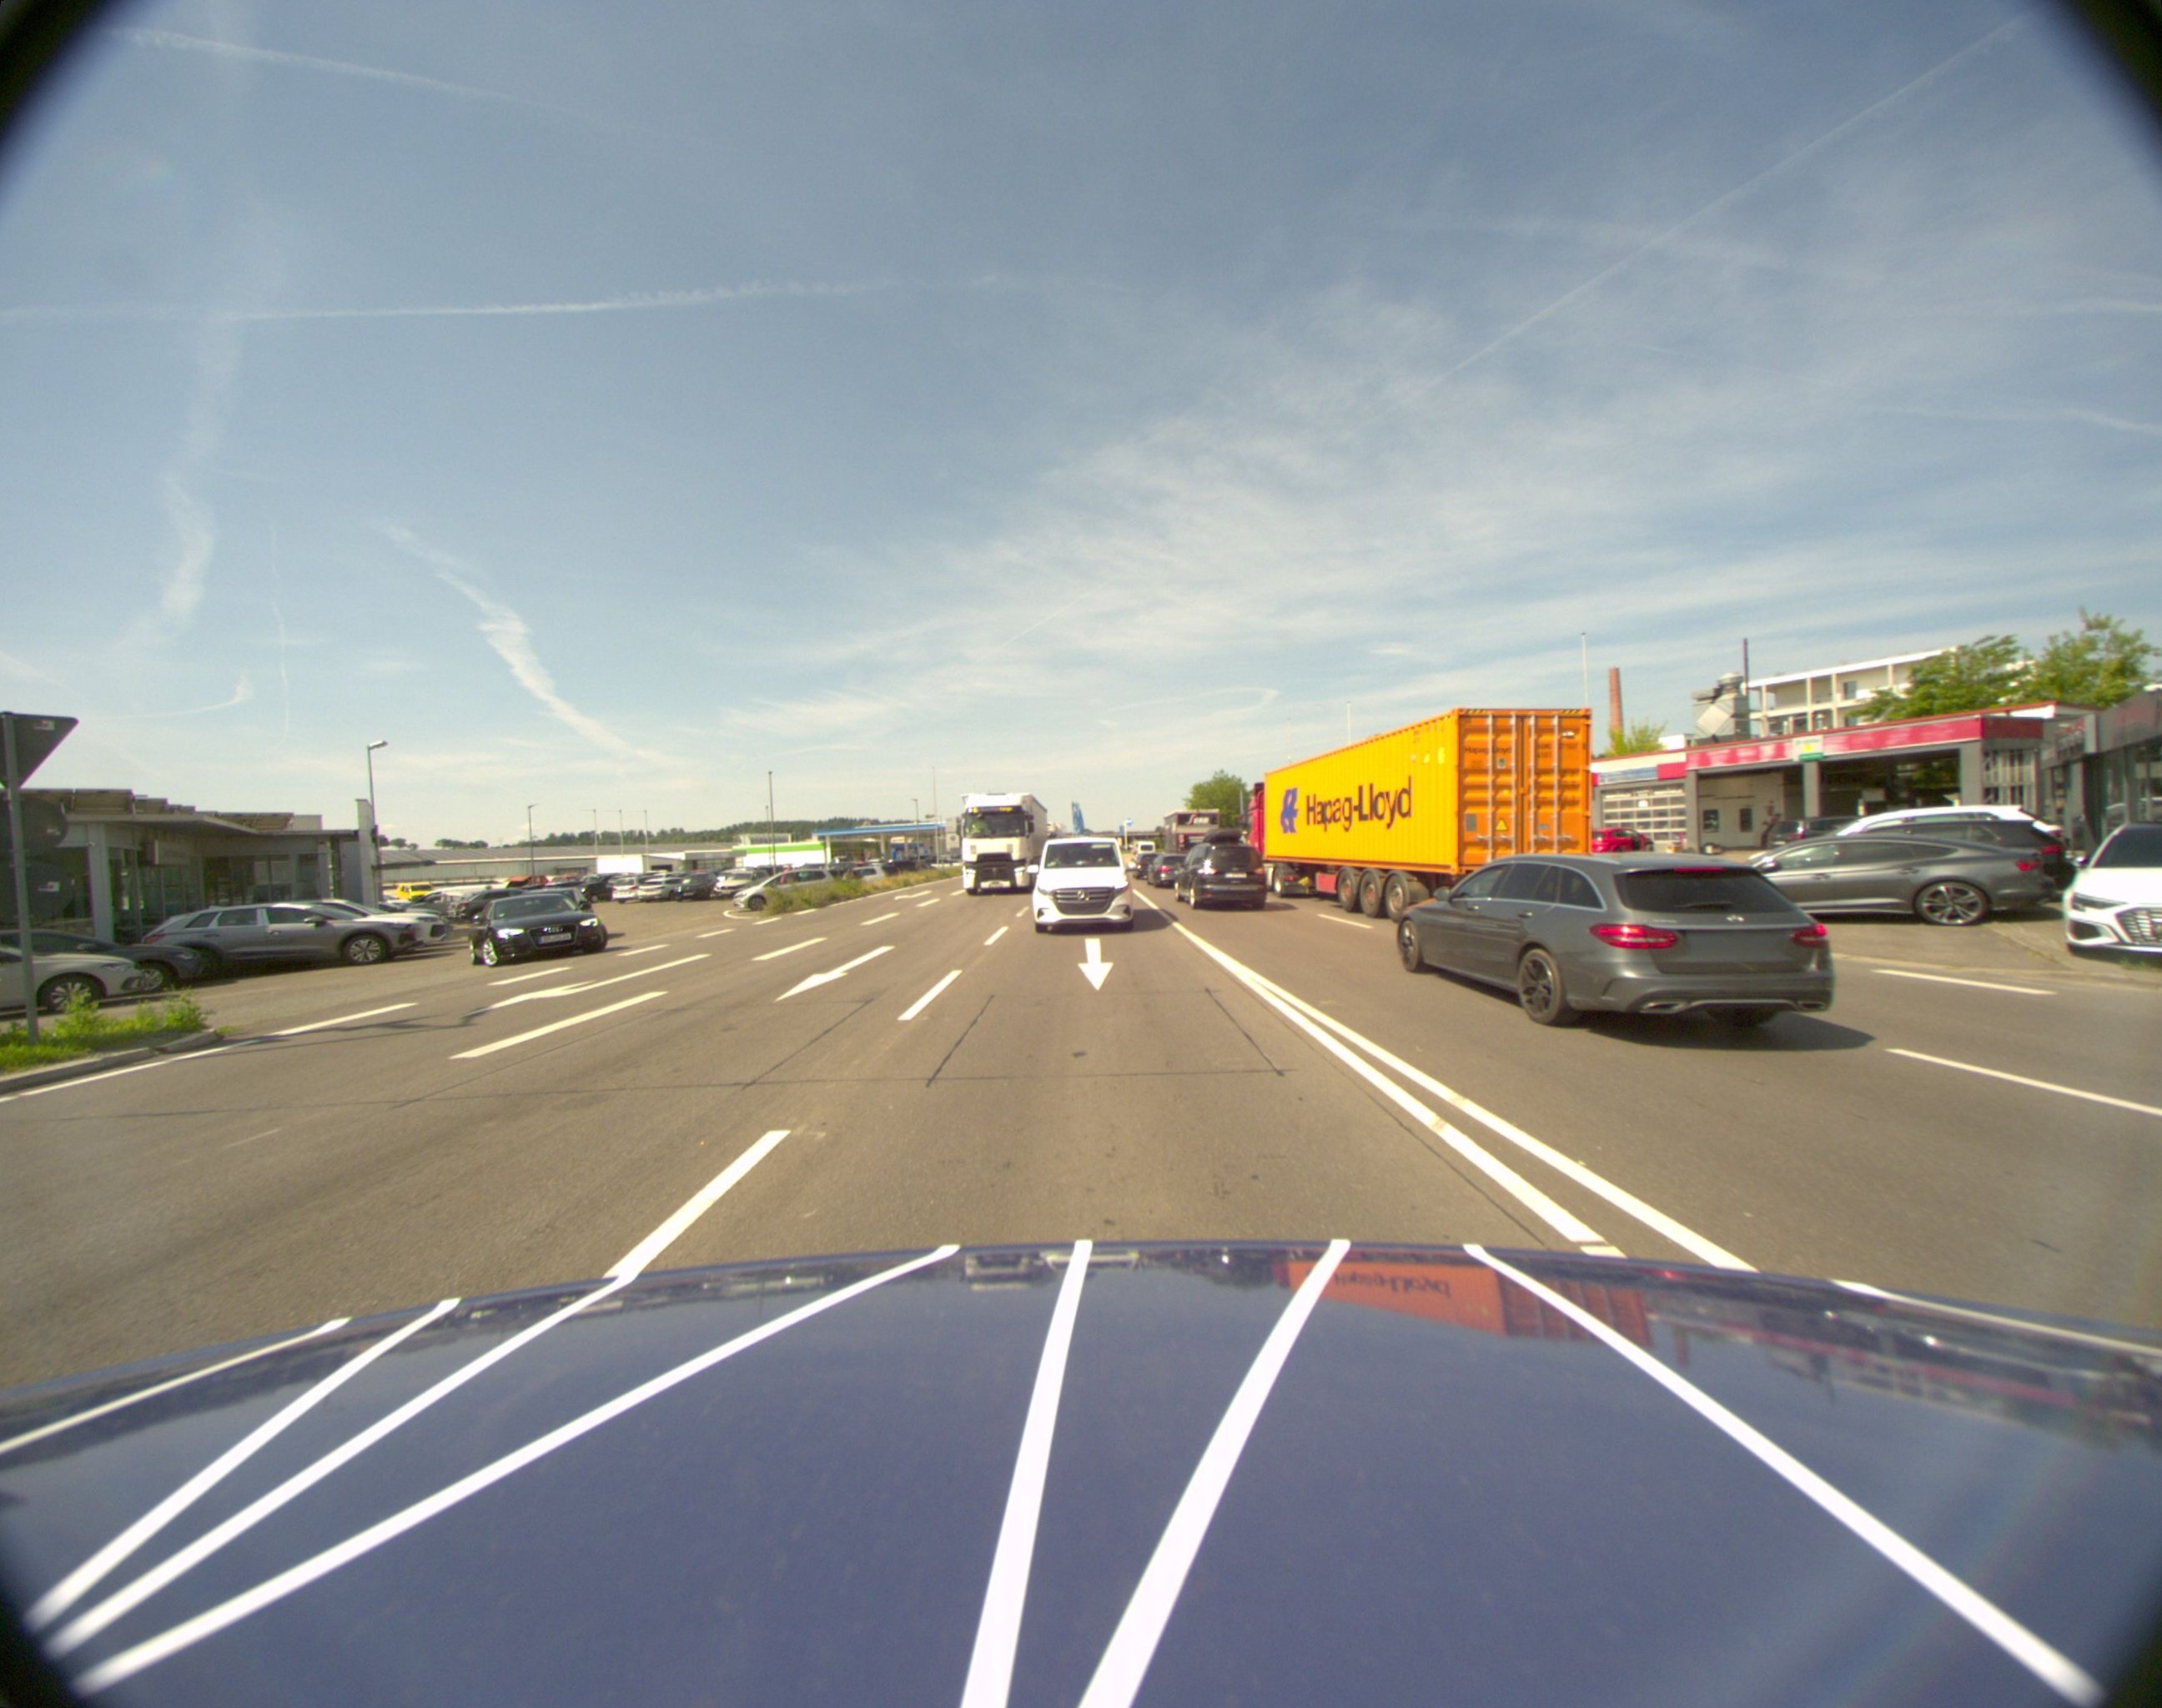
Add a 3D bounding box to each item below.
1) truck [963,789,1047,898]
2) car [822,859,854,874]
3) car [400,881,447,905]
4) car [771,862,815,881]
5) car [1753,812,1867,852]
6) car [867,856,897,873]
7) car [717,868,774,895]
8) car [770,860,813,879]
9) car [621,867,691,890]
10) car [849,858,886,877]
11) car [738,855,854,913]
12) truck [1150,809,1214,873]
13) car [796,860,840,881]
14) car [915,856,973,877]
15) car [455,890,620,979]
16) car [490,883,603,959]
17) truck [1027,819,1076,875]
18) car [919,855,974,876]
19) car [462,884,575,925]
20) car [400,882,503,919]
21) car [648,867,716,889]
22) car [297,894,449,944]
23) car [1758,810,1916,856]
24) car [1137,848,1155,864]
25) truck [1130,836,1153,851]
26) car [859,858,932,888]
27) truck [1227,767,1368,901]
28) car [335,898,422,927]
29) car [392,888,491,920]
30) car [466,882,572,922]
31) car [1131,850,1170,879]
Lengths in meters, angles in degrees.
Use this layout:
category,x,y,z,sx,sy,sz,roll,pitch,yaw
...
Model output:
category,x,y,z,sx,sy,sz,roll,pitch,yaw
truck,-2.967,-0.420,31.338,2.647,3.964,6.041,-2,1,1
car,-26.808,1.351,83.887,1.720,1.571,4.325,-2,1,6
car,-58.074,3.379,67.100,4.148,1.920,2.215,-1,1,37
car,-25.423,1.514,67.182,1.689,1.517,4.539,-2,1,6
car,33.868,-0.990,35.328,4.104,1.553,1.865,-4,1,-14
car,-21.764,1.130,83.180,1.712,1.703,4.261,-2,1,6
car,-23.661,1.888,53.726,1.774,1.645,4.434,-2,1,4
car,-27.661,1.466,72.754,1.773,1.645,4.541,-2,1,10
car,-33.249,1.887,59.570,1.819,1.574,4.544,-1,1,22
car,-20.097,1.259,71.657,1.774,1.571,4.539,-2,1,6
car,-12.131,1.227,32.374,4.355,2.200,1.759,-2,1,-29
truck,6.877,-0.878,53.269,2.718,3.975,9.972,-2,1,-2
car,-22.993,1.379,66.602,1.774,1.645,4.539,-2,1,6
car,-11.815,1.032,65.463,4.543,1.645,1.772,-2,1,-26
car,-11.504,1.629,15.924,1.969,1.325,4.805,-9,2,-44
car,-14.769,1.753,21.236,1.778,1.645,4.068,-5,2,-25
truck,-2.138,-0.549,58.990,2.646,3.964,9.241,-2,1,4
car,-12.065,1.012,68.277,4.543,1.645,1.772,-2,1,-25
car,-26.466,2.327,35.804,4.084,1.599,1.689,-2,0,-41
car,-38.573,2.820,46.718,4.544,1.937,1.772,-2,1,-27
car,-30.828,1.856,58.827,1.819,1.423,4.491,-1,1,22
car,-30.020,2.682,32.333,1.771,1.645,4.559,-1,1,45
car,29.779,-0.809,30.051,4.097,1.599,1.886,-2,1,8
car,6.650,0.187,78.048,1.657,1.547,4.000,0,1,2
truck,11.914,-2.064,148.817,2.437,2.820,6.051,-1,1,26
car,-11.520,1.162,47.197,4.006,1.645,1.772,-2,1,-32
truck,7.162,-0.643,26.044,2.728,3.975,6.054,-2,1,-3
car,-48.154,3.989,52.146,3.913,1.720,1.982,-2,1,-7
car,-37.180,2.888,44.310,4.082,1.483,1.772,-2,1,-28
car,-28.056,2.339,38.016,4.084,1.645,1.771,-2,1,-41
car,3.632,0.525,40.436,1.716,1.435,4.378,0,1,0
